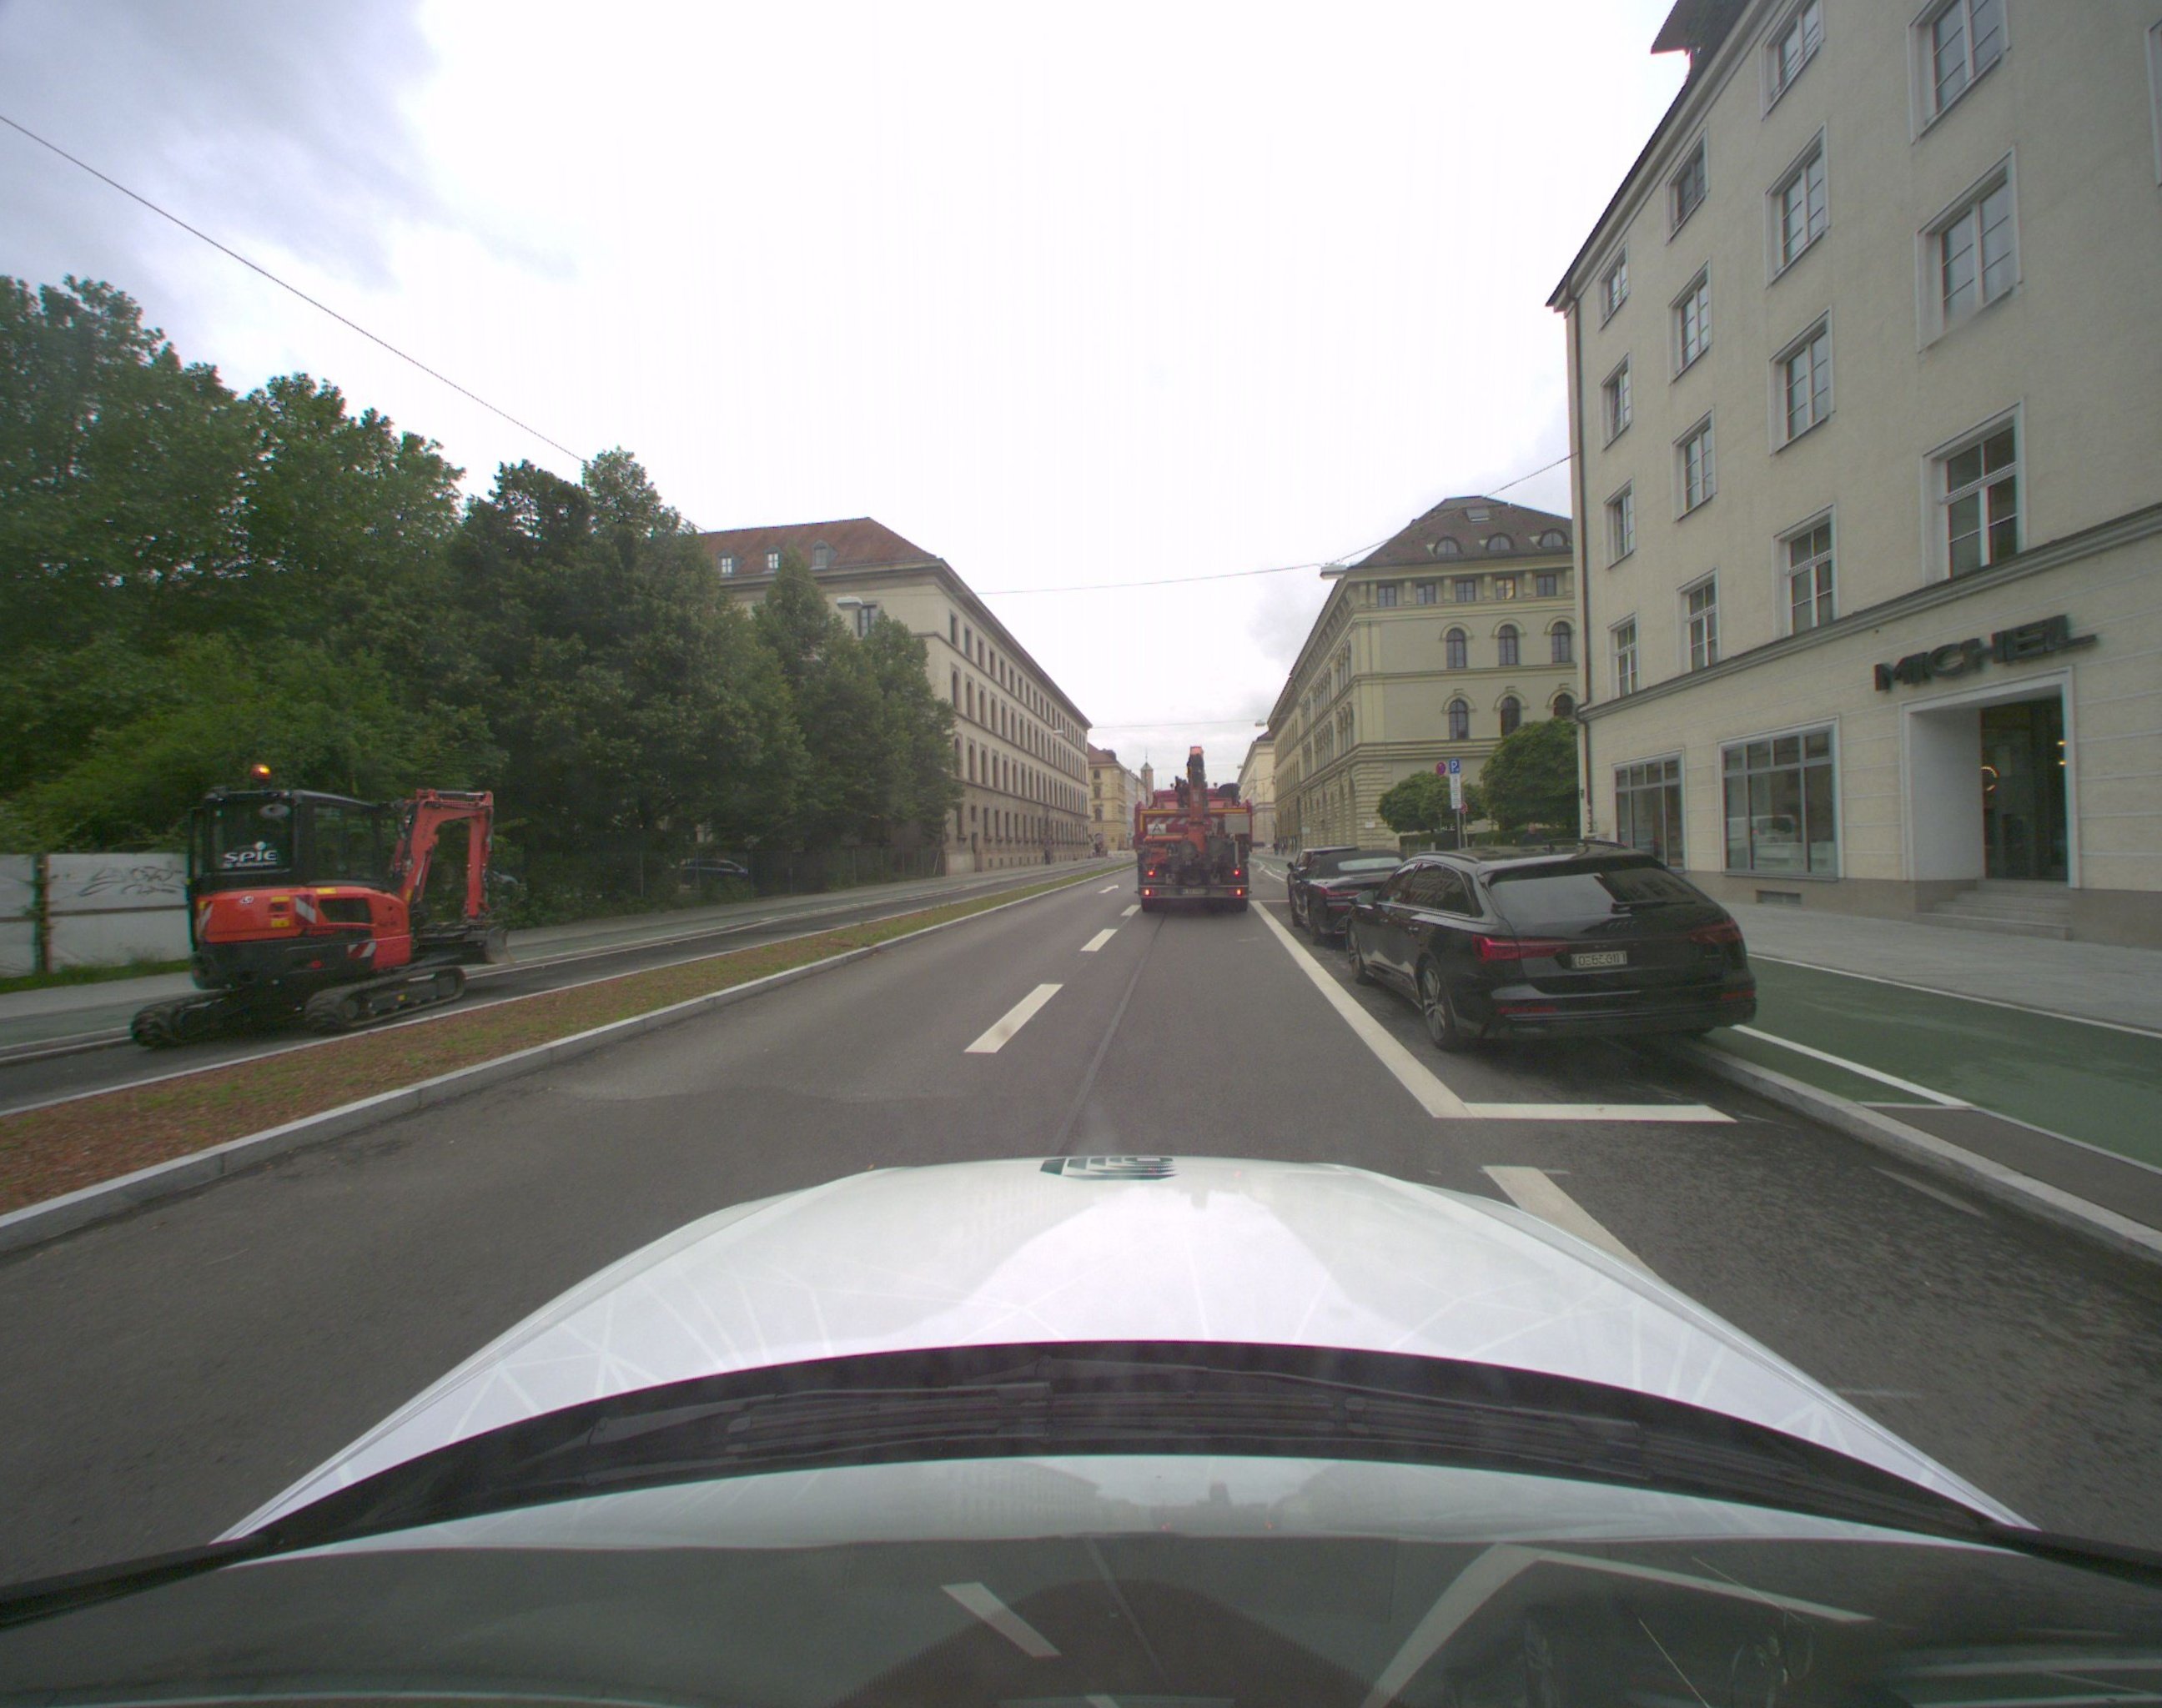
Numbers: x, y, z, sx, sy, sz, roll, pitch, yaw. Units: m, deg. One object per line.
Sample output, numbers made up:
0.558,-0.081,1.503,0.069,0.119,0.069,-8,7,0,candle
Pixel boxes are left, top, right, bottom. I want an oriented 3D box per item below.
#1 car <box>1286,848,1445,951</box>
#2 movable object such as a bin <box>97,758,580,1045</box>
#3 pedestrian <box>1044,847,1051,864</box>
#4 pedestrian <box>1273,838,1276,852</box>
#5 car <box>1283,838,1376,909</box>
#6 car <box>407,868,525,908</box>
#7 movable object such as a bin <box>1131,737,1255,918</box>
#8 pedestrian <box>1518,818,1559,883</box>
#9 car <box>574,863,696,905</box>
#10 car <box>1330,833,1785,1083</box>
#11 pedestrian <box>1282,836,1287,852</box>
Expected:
4.486,0.620,13.471,1.670,1.386,4.437,-1,1,8,car
-8.447,0.434,10.055,1.992,2.641,4.654,-2,0,-7,movable object such as a bin
-3.464,0.162,85.074,0.585,1.831,0.500,-1,1,7,pedestrian
22.492,-1.022,94.678,0.335,1.672,0.441,-2,0,10,pedestrian
5.809,0.411,19.378,1.601,1.495,3.433,-2,0,8,car
-27.561,1.490,36.694,1.820,1.545,4.186,-1,1,7,car
2.648,-0.552,19.419,2.410,3.611,5.864,-1,0,7,movable object such as a bin
13.382,-0.113,23.846,0.785,1.836,0.779,-2,1,9,pedestrian
-17.910,1.204,32.781,3.907,1.545,1.839,-1,1,6,car
3.571,0.614,7.262,1.792,1.480,4.697,-2,0,7,car
23.629,-1.147,94.541,0.443,1.836,0.557,-2,0,10,pedestrian
